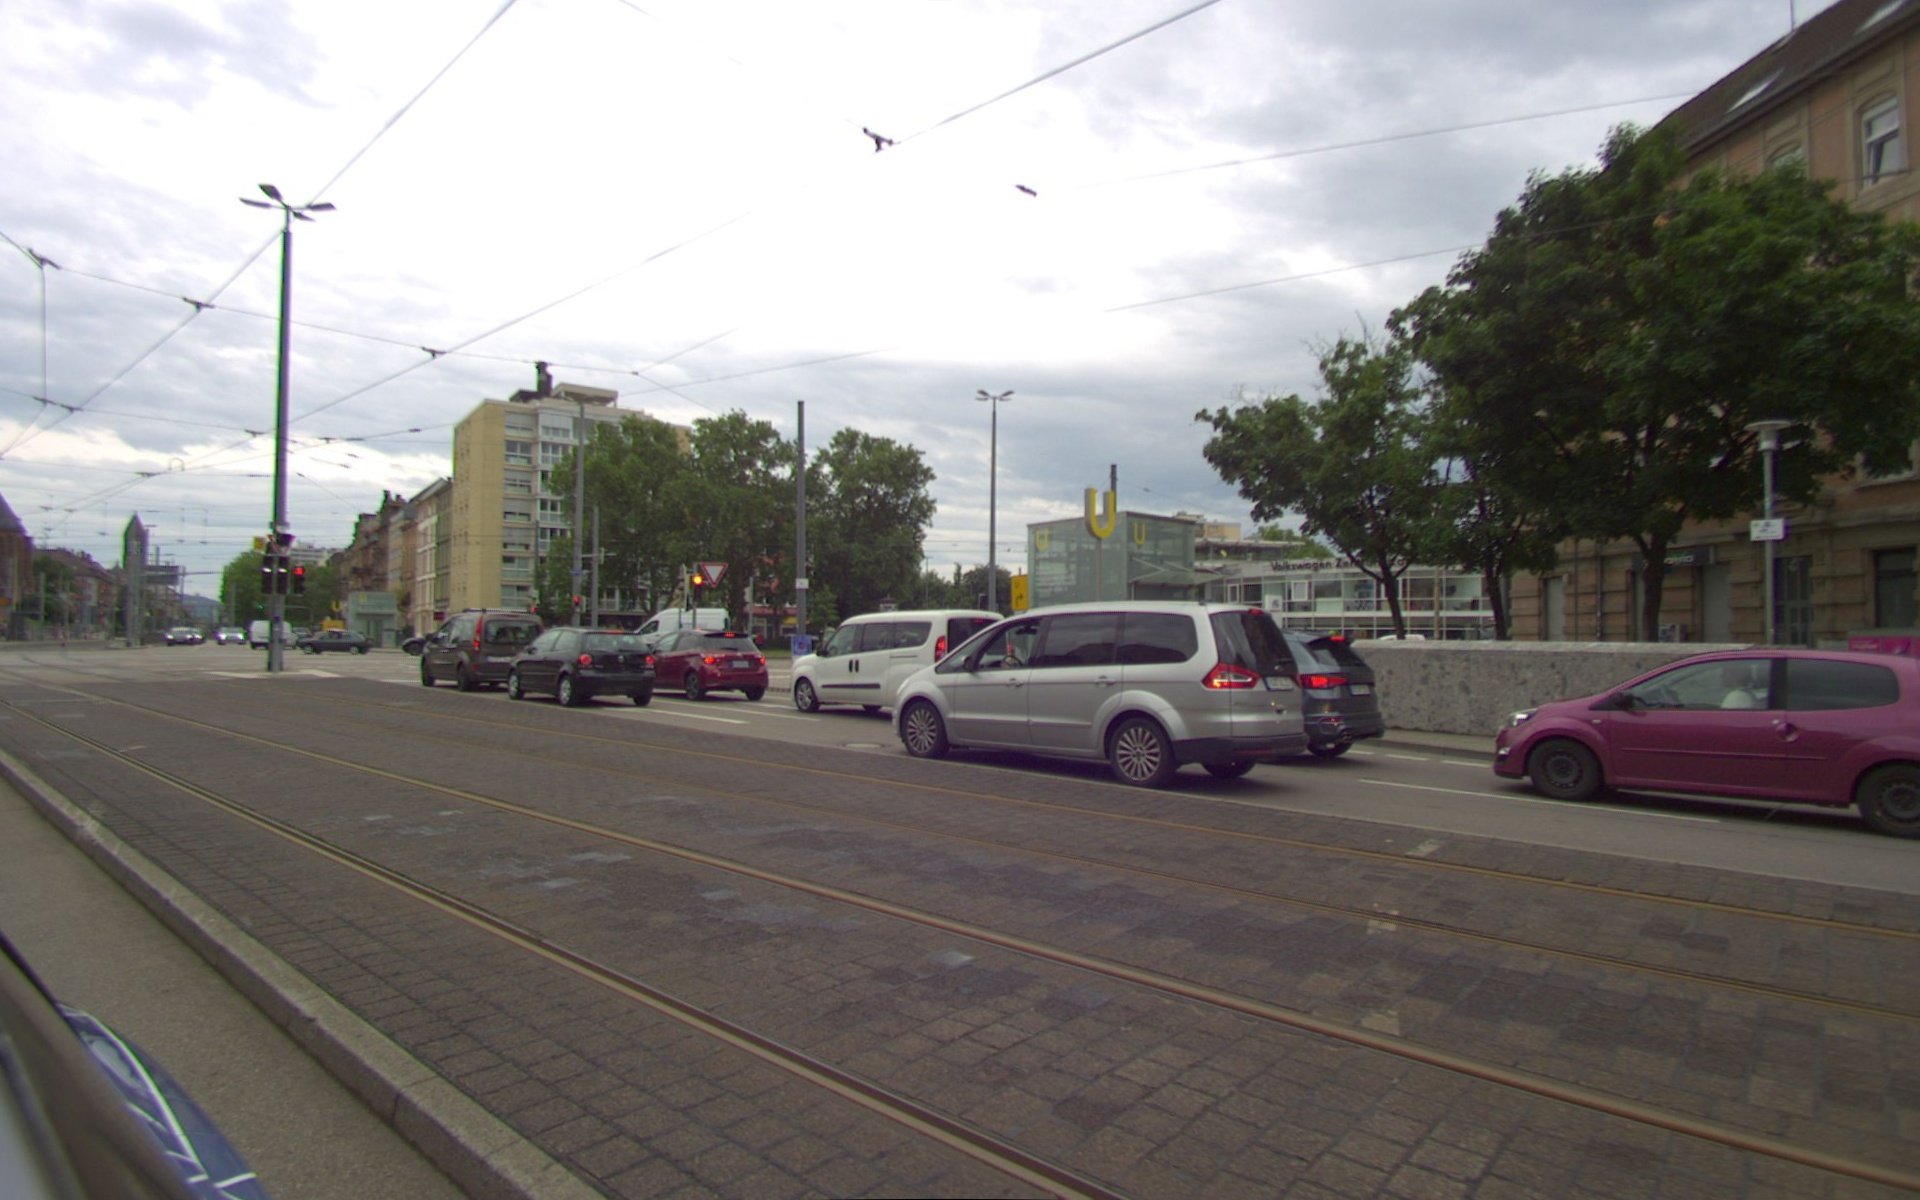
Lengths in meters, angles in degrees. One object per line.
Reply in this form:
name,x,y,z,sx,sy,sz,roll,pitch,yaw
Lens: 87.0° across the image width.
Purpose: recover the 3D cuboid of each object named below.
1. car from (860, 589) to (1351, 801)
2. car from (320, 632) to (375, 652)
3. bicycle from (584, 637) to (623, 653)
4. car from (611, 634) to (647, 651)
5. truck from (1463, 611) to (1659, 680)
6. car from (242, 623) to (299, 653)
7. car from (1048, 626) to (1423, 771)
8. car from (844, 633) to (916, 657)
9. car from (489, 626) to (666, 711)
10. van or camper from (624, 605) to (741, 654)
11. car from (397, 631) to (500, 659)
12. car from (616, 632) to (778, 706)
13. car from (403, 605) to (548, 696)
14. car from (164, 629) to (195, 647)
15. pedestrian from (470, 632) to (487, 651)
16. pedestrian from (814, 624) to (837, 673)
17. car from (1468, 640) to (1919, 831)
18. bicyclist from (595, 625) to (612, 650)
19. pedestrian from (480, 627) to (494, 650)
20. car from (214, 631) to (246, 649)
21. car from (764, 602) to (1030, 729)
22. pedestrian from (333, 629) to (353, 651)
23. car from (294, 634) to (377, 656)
car,1.289,0.864,10.566,4.909,1.719,1.842,-2,-4,43
car,-57.297,3.949,94.706,2.065,1.769,3.975,1,-1,19
bicycle,-21.696,2.745,61.685,2.192,0.933,0.520,0,-2,0
car,-31.872,4.064,97.346,1.968,1.564,4.006,2,-3,-40
truck,33.872,2.524,57.400,9.126,3.576,2.793,1,-1,12
car,-47.022,2.580,69.155,1.890,1.896,5.105,2,-1,-19
car,3.371,1.148,12.977,1.841,1.546,4.306,5,-5,-44
car,-4.728,2.667,60.121,4.209,1.431,1.641,0,-2,-1
car,-7.395,1.246,19.392,1.669,1.453,4.002,3,-3,-45
van or camper,-15.549,1.660,56.977,5.961,2.631,2.425,1,-1,-3
car,-27.744,2.444,55.023,4.591,1.431,2.002,0,-2,-4
car,-5.854,1.447,22.265,1.669,1.453,4.002,3,-3,-45
car,-11.324,1.125,23.534,1.669,1.915,4.389,3,-3,-45
car,-64.519,3.148,83.644,1.968,1.453,4.007,2,-3,-39
pedestrian,-41.886,3.583,87.992,1.024,1.652,1.334,2,-3,-40
pedestrian,-4.871,1.759,36.639,0.592,1.741,0.915,1,-2,-23
car,6.973,1.112,9.144,1.841,1.410,3.897,5,-5,-45
bicyclist,-21.721,2.284,61.669,0.845,1.520,0.567,-1,-2,0
pedestrian,-37.470,3.049,80.185,0.915,1.733,0.697,0,-2,41
car,-62.013,3.395,86.000,1.968,1.453,4.007,2,-3,-39
car,-1.263,1.075,17.868,1.841,1.931,5.105,2,-3,-44
pedestrian,-49.325,3.202,80.873,1.162,1.798,1.042,2,-3,-41
car,-35.250,2.539,57.224,3.674,1.256,1.697,1,-2,-17
